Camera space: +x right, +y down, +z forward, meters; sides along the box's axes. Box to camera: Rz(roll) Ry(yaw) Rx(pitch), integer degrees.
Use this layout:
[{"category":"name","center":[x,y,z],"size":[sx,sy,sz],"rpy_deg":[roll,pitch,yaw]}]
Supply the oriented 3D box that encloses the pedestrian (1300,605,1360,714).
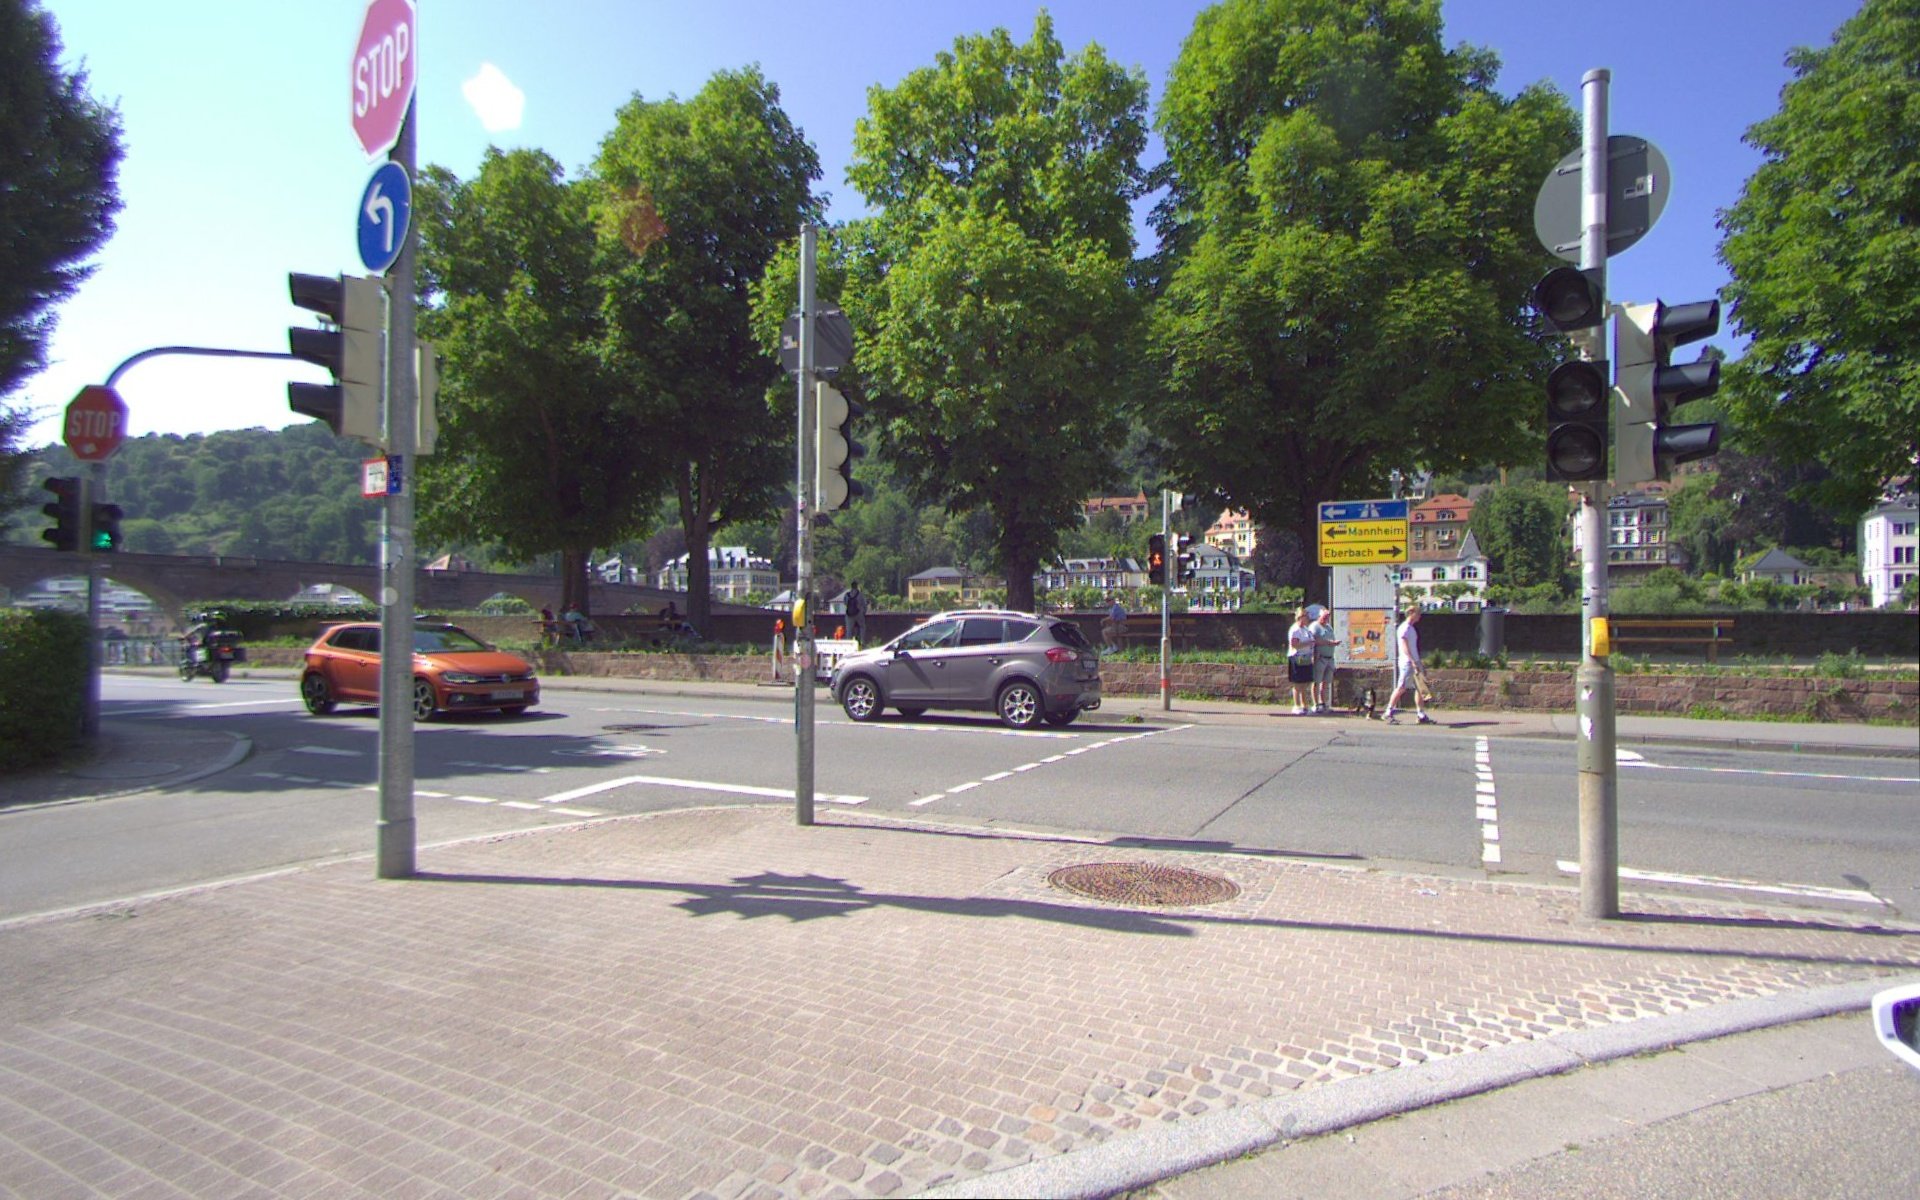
[{"category":"pedestrian","center":[6.281,1.005,17.074],"size":[0.710,1.793,0.683],"rpy_deg":[2,-2,-36]}]

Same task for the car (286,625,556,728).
[{"category":"car","center":[-8.405,1.112,15.639],"size":[3.943,1.424,1.729],"rpy_deg":[-1,-2,26]}]

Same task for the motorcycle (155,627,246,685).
[{"category":"motorcycle","center":[-19.079,1.390,25.224],"size":[2.425,1.394,0.763],"rpy_deg":[-1,-2,25]}]

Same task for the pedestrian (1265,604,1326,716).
[{"category":"pedestrian","center":[5.594,0.995,16.768],"size":[0.712,1.825,0.632],"rpy_deg":[1,-3,-14]}]

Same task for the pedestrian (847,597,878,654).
[{"category":"pedestrian","center":[-3.075,0.803,31.622],"size":[0.696,1.754,0.757],"rpy_deg":[0,-2,17]}]

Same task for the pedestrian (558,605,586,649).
[{"category":"pedestrian","center":[-11.551,0.814,29.903],"size":[0.460,1.287,0.630],"rpy_deg":[-1,-2,31]}]

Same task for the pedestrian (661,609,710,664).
[{"category":"pedestrian","center":[-7.662,1.017,28.086],"size":[0.460,1.499,1.382],"rpy_deg":[-1,-2,31]}]

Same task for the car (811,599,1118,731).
[{"category":"car","center":[0.072,0.964,15.542],"size":[4.326,1.776,1.844],"rpy_deg":[1,-4,25]}]

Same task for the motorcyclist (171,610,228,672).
[{"category":"motorcyclist","center":[-19.153,1.033,25.303],"size":[0.858,1.514,0.818],"rpy_deg":[0,-1,25]}]

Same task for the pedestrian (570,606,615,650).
[{"category":"pedestrian","center":[-10.931,0.832,29.901],"size":[0.460,1.287,1.221],"rpy_deg":[-1,-2,31]}]

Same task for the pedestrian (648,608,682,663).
[{"category":"pedestrian","center":[-8.251,0.994,28.141],"size":[0.460,1.513,0.803],"rpy_deg":[-1,-2,31]}]

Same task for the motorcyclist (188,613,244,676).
[{"category":"motorcyclist","center":[-18.472,1.105,24.955],"size":[0.759,1.513,0.818],"rpy_deg":[-1,-2,24]}]

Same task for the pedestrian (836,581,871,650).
[{"category":"pedestrian","center":[-2.957,0.439,27.943],"size":[0.749,1.882,0.757],"rpy_deg":[1,-2,9]}]

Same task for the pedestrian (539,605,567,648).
[{"category":"pedestrian","center":[-12.299,0.801,30.350],"size":[0.460,1.287,0.630],"rpy_deg":[-1,-2,31]}]

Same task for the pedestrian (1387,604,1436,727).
[{"category":"pedestrian","center":[6.849,0.979,15.269],"size":[0.568,1.825,0.706],"rpy_deg":[0,-2,16]}]

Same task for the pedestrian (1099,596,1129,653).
[{"category":"pedestrian","center":[3.396,0.557,22.182],"size":[0.630,1.244,0.414],"rpy_deg":[-1,-3,11]}]
